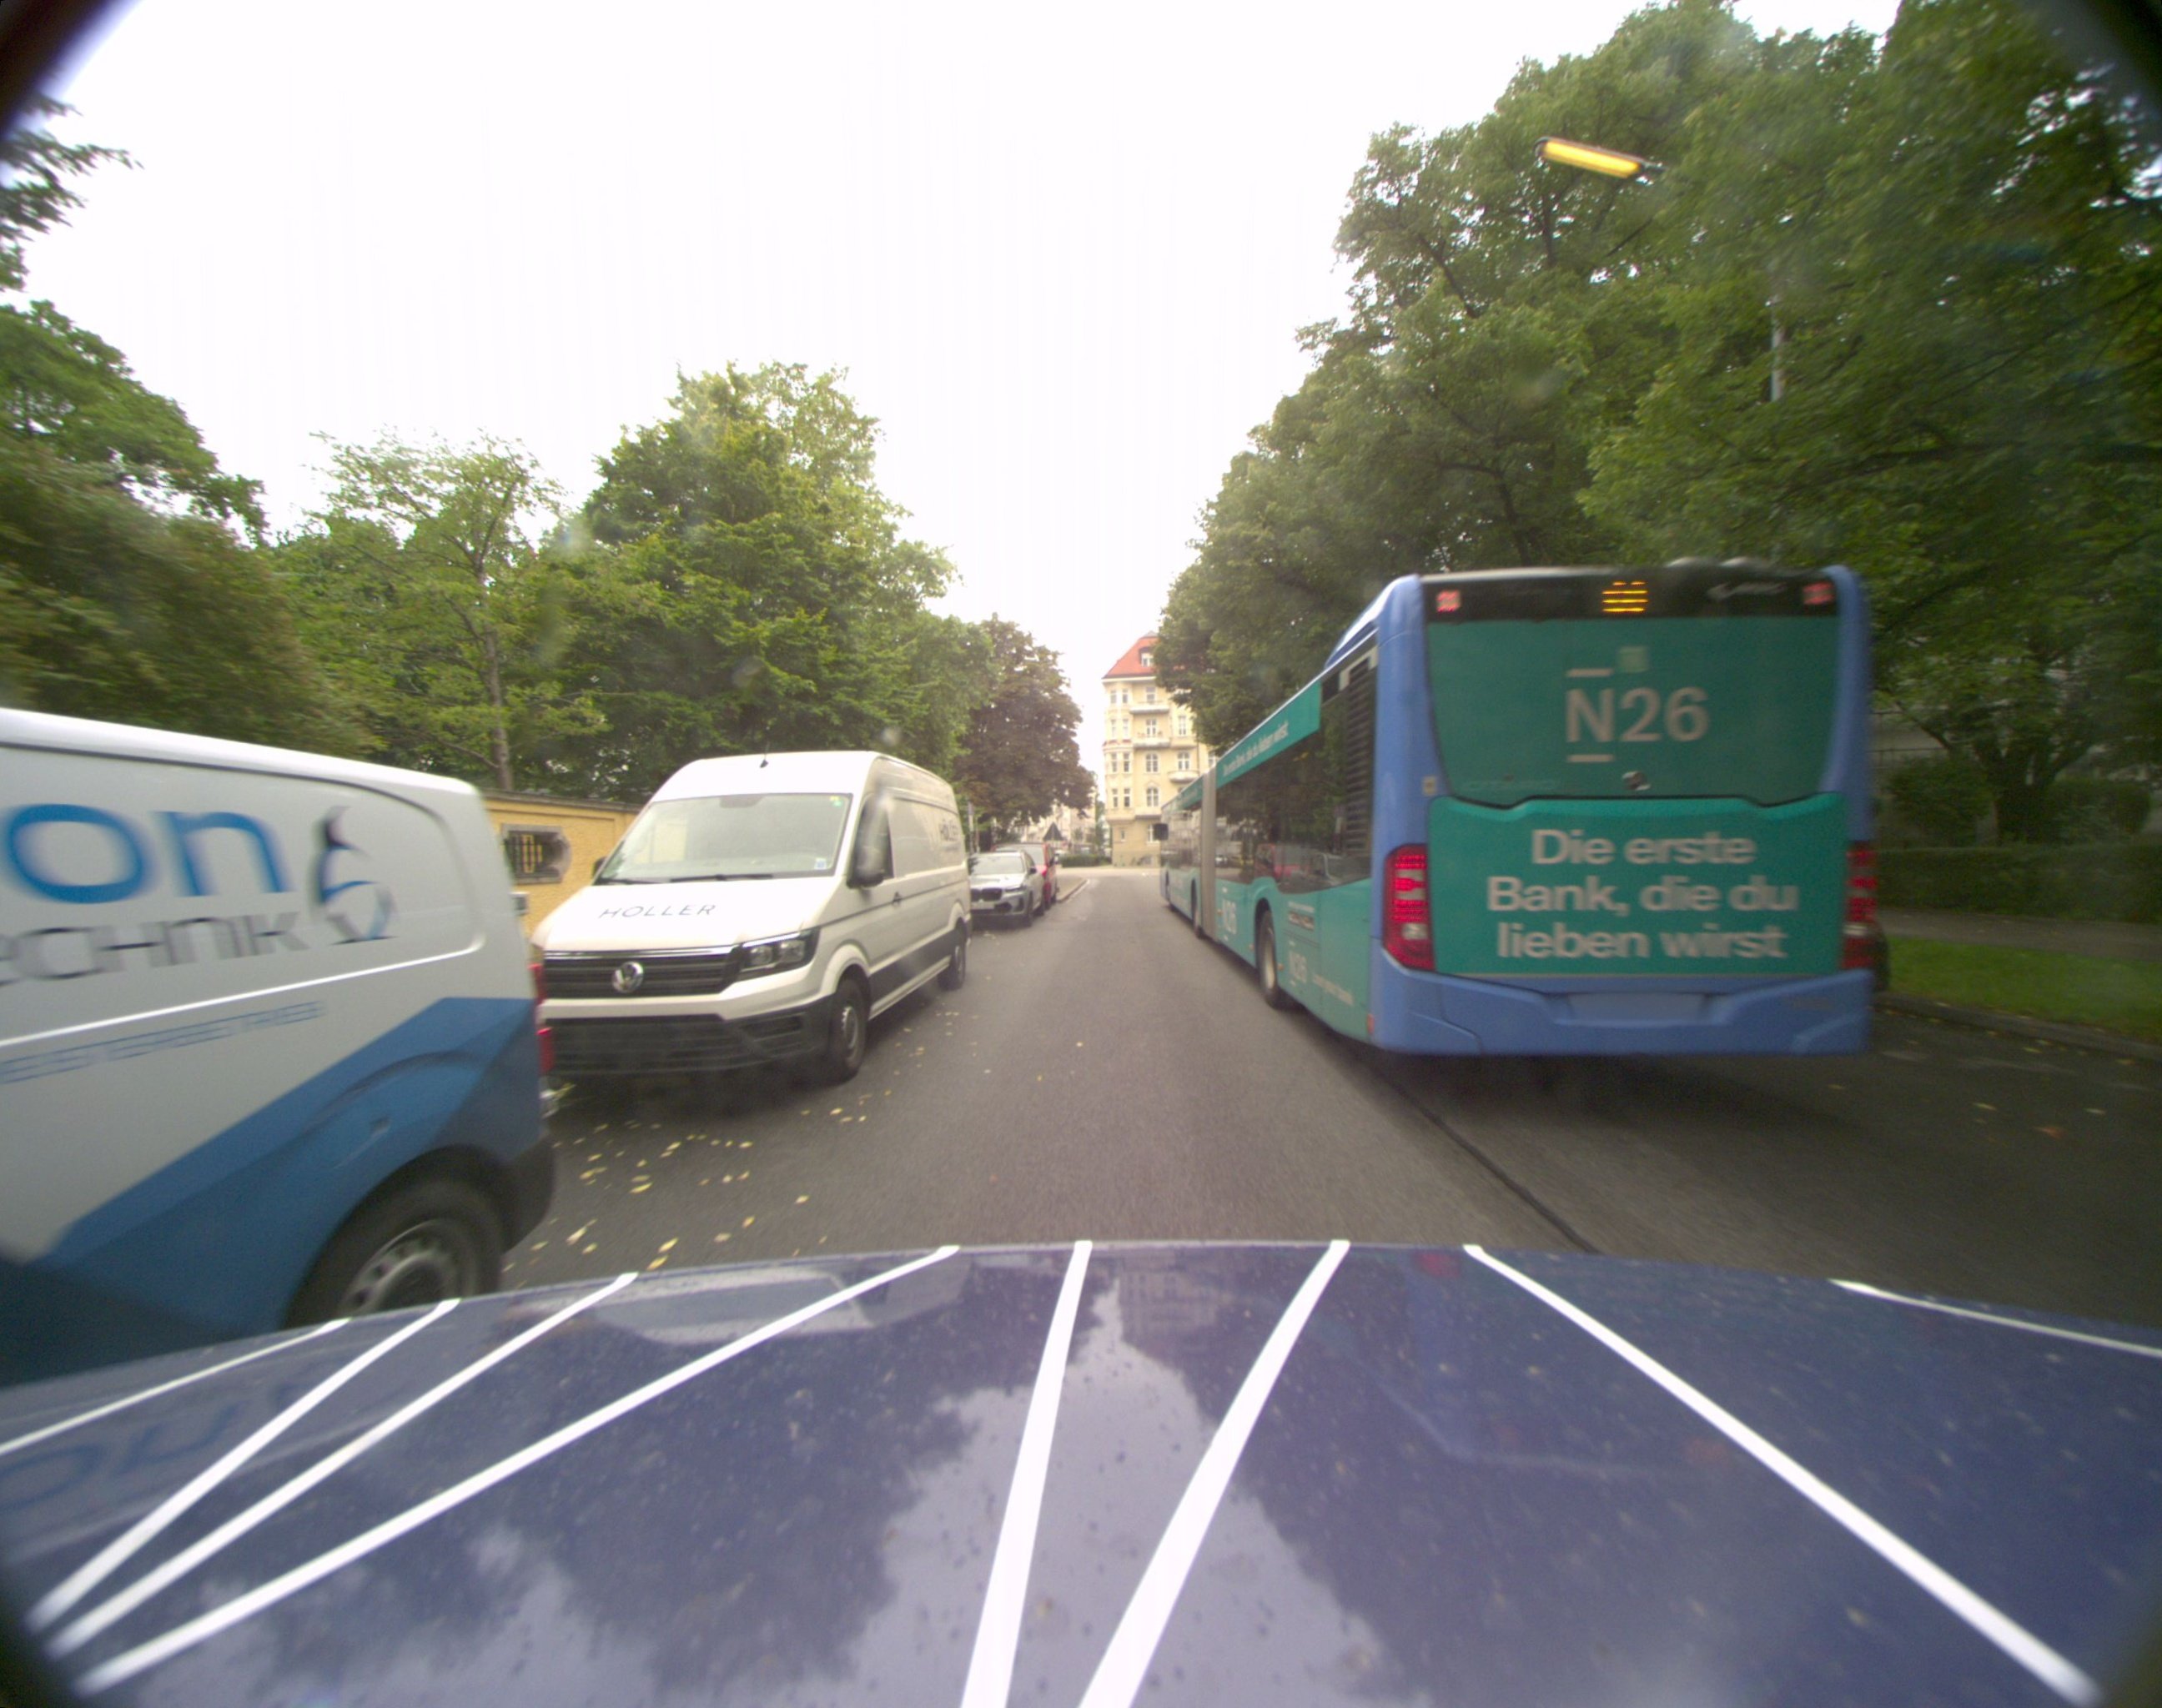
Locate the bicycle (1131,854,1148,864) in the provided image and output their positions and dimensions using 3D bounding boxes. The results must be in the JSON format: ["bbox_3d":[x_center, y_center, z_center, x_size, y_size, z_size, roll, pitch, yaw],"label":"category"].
[{"bbox_3d":[6.459,0.549,83.925,1.783,0.986,0.543,-1,2,7],"label":"bicycle"}]

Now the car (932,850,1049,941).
[{"bbox_3d":[-1.901,0.815,17.424,1.863,1.731,4.603,-2,0,2],"label":"car"}]

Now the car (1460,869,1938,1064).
[{"bbox_3d":[5.924,0.918,8.189,1.793,1.429,4.553,0,0,6],"label":"car"}]

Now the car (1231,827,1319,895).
[{"bbox_3d":[7.300,0.243,29.161,2.119,2.335,5.408,-1,0,2],"label":"car"}]

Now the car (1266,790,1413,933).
[{"bbox_3d":[5.908,0.094,18.249,1.949,2.838,6.237,-1,1,5],"label":"car"}]

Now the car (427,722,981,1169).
[{"bbox_3d":[-2.471,0.467,7.094,2.100,2.473,5.739,-1,1,2],"label":"car"}]

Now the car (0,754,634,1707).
[{"bbox_3d":[-2.716,0.828,0.250,2.018,1.895,5.163,-2,0,0],"label":"car"}]

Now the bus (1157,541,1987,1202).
[{"bbox_3d":[3.307,-0.078,12.948,2.866,3.221,18.424,-1,1,2],"label":"bus"}]

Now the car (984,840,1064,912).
[{"bbox_3d":[-1.620,0.595,23.428,1.863,1.956,5.445,-1,0,2],"label":"car"}]
